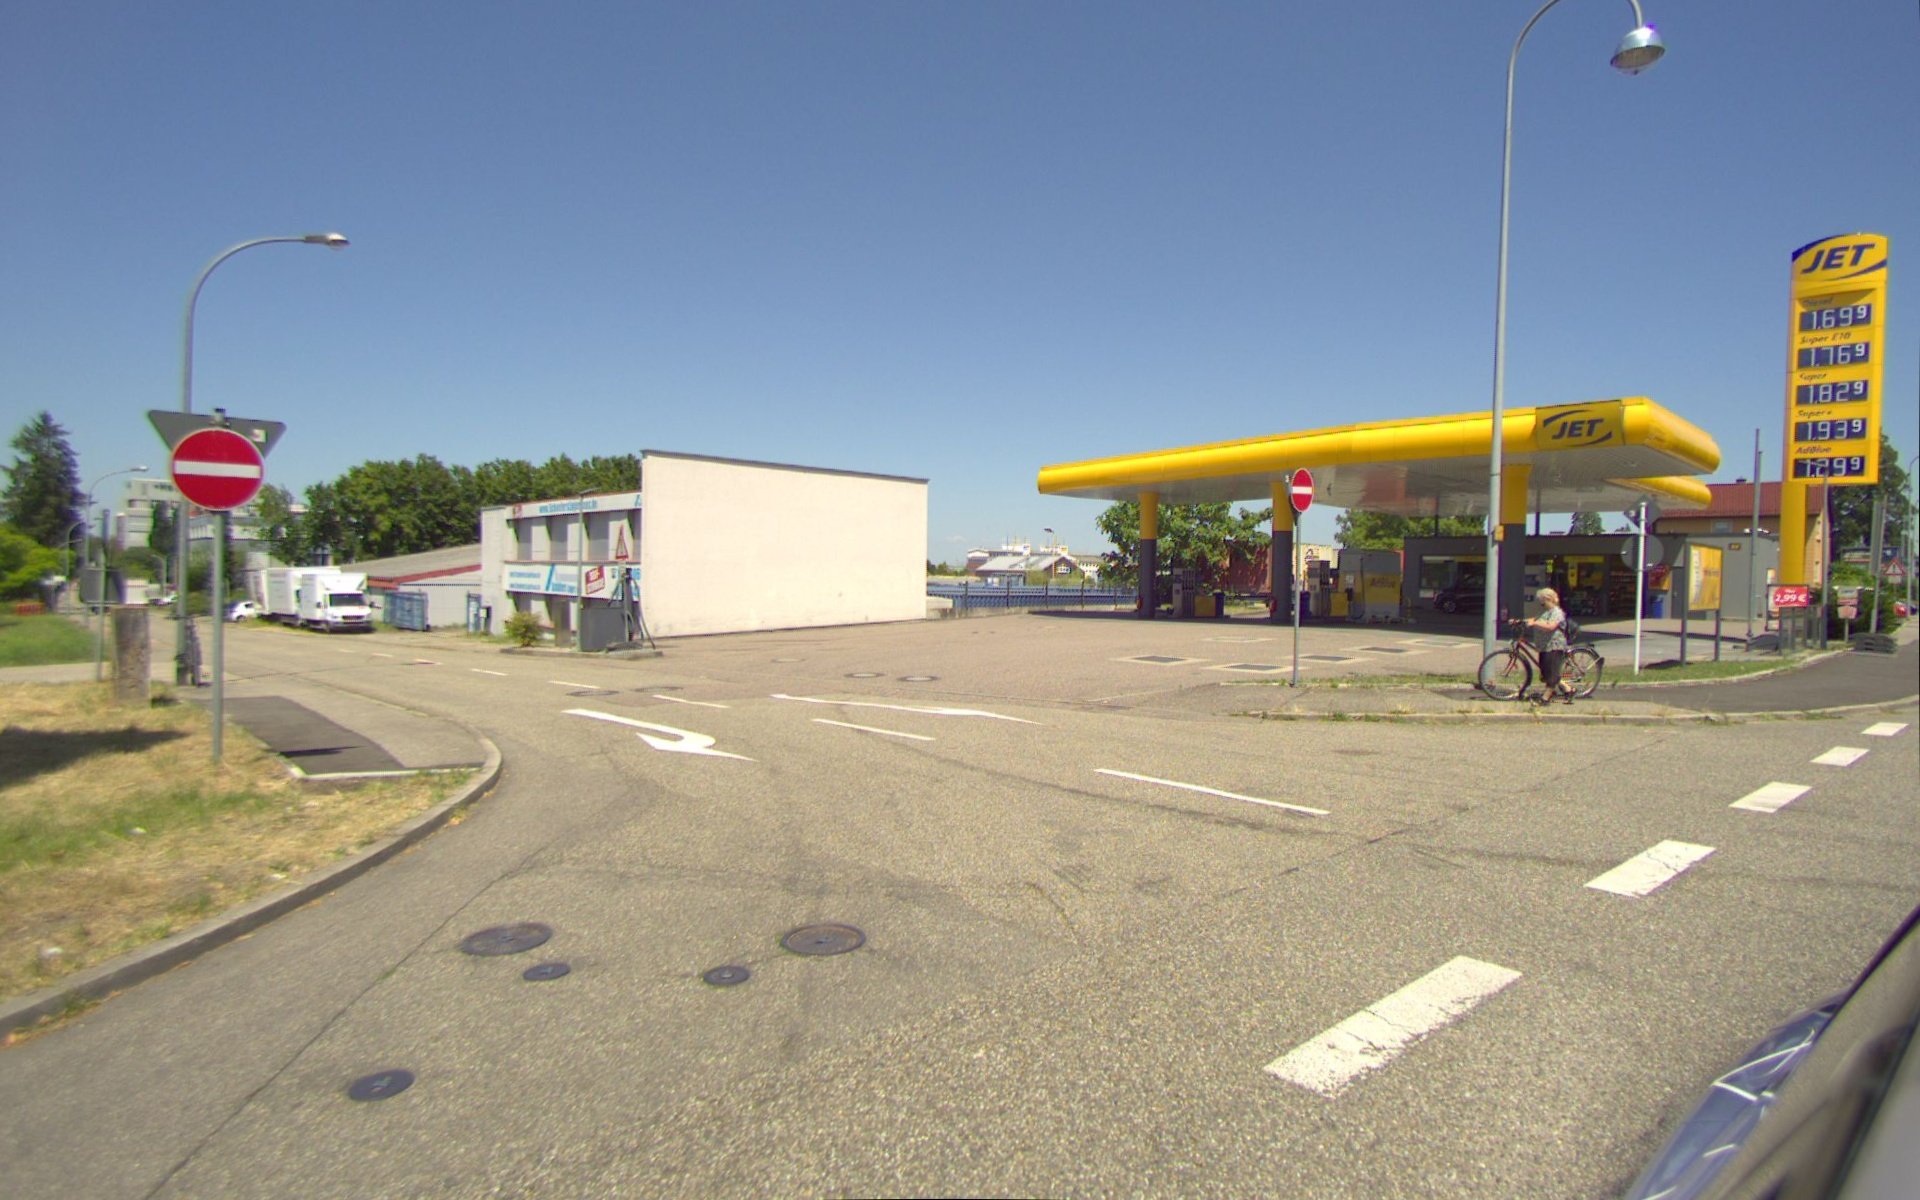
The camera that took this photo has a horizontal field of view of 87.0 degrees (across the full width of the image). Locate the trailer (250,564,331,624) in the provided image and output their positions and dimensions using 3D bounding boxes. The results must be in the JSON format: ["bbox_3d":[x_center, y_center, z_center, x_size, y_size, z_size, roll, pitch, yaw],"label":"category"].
[{"bbox_3d":[-40.580,-0.391,61.222,2.434,3.359,8.479,-1,1,-45],"label":"trailer"}]

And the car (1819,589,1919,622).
[{"bbox_3d":[49.866,0.283,55.336,4.227,1.553,1.927,3,2,45],"label":"car"}]

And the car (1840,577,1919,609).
[{"bbox_3d":[59.147,-0.477,64.829,4.129,1.962,1.782,2,1,40],"label":"car"}]

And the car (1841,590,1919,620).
[{"bbox_3d":[54.867,0.268,60.132,3.685,1.586,1.616,3,2,43],"label":"car"}]

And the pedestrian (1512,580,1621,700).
[{"bbox_3d":[7.490,0.478,12.523,0.850,1.439,0.772,0,0,-5],"label":"pedestrian"}]

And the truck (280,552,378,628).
[{"bbox_3d":[-34.129,-0.561,54.542,2.525,3.766,9.456,0,1,-44],"label":"truck"}]

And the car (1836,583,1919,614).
[{"bbox_3d":[51.744,-0.104,56.895,3.683,1.586,1.682,3,2,42],"label":"car"}]

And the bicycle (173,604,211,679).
[{"bbox_3d":[-12.382,0.638,16.295,0.459,1.111,1.697,0,1,-38],"label":"bicycle"}]

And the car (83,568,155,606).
[{"bbox_3d":[-78.901,-1.191,94.892,7.516,3.348,3.276,0,0,34],"label":"car"}]

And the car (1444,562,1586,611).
[{"bbox_3d":[23.967,-0.606,43.846,1.966,2.000,5.056,0,1,-43],"label":"car"}]

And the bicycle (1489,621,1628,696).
[{"bbox_3d":[7.634,0.742,12.925,1.566,0.923,0.379,0,0,-3],"label":"bicycle"}]

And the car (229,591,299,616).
[{"bbox_3d":[-49.526,0.246,72.000,3.931,1.707,1.900,-1,1,-41],"label":"car"}]
